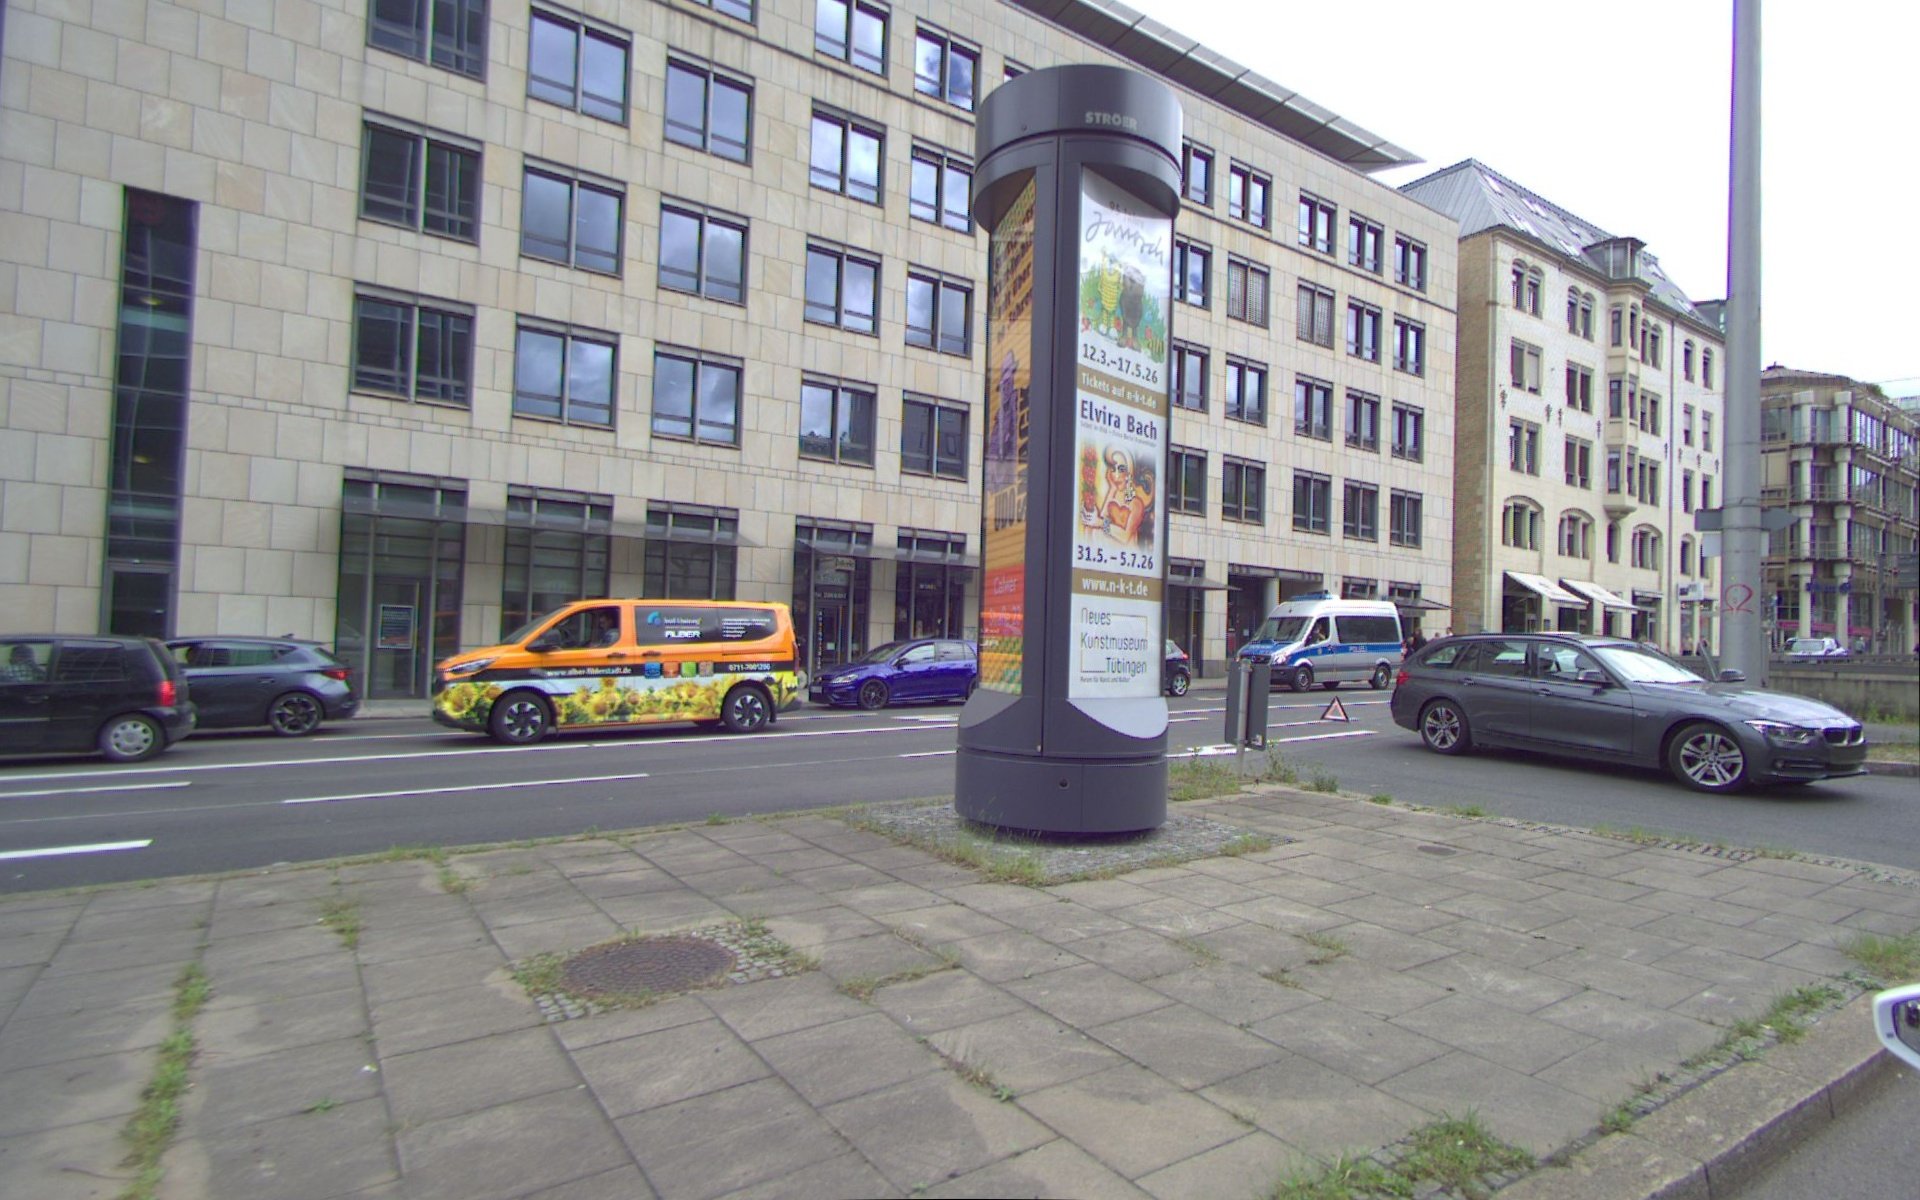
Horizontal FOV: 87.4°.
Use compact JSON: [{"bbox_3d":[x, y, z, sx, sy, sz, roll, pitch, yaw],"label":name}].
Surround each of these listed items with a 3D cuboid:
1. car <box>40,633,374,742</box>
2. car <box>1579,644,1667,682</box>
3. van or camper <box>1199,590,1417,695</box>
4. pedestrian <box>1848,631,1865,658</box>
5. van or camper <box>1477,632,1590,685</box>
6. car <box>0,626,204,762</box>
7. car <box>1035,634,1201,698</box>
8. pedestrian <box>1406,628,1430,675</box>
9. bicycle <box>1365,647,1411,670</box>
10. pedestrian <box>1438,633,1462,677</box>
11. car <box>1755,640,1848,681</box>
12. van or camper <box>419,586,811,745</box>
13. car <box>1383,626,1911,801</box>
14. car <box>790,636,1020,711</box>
[{"bbox_3d":[-10.465,1.188,14.293,3.593,1.359,1.548,2,-3,-33],"label":"car"},{"bbox_3d":[26.516,2.493,40.142,3.548,1.424,1.775,2,-2,-35],"label":"car"},{"bbox_3d":[10.304,1.242,29.567,6.181,2.762,2.984,2,-2,-34],"label":"van or camper"},{"bbox_3d":[61.702,3.064,69.133,0.687,1.817,0.529,3,3,-33],"label":"pedestrian"},{"bbox_3d":[20.848,2.097,36.445,4.442,1.775,1.856,2,-2,-35],"label":"van or camper"},{"bbox_3d":[-10.569,0.996,10.909,3.593,1.397,1.548,2,-3,-33],"label":"car"},{"bbox_3d":[3.974,1.634,25.095,3.989,1.467,1.758,2,-4,-34],"label":"car"},{"bbox_3d":[17.615,1.985,38.628,0.673,1.776,0.548,2,-1,-35],"label":"pedestrian"},{"bbox_3d":[15.121,2.061,35.498,1.941,0.772,0.627,2,-2,-37],"label":"bicycle"},{"bbox_3d":[18.244,2.052,37.382,0.673,1.597,0.548,2,-1,-35],"label":"pedestrian"},{"bbox_3d":[34.985,2.490,41.738,4.497,1.547,1.906,2,-2,-35],"label":"car"},{"bbox_3d":[-4.853,0.922,14.505,5.031,1.946,1.901,2,-4,-34],"label":"van or camper"},{"bbox_3d":[7.159,1.058,11.103,1.856,1.477,4.537,2,-2,-25],"label":"car"},{"bbox_3d":[-1.127,1.513,21.374,4.524,1.413,1.982,2,-2,-33],"label":"car"}]
